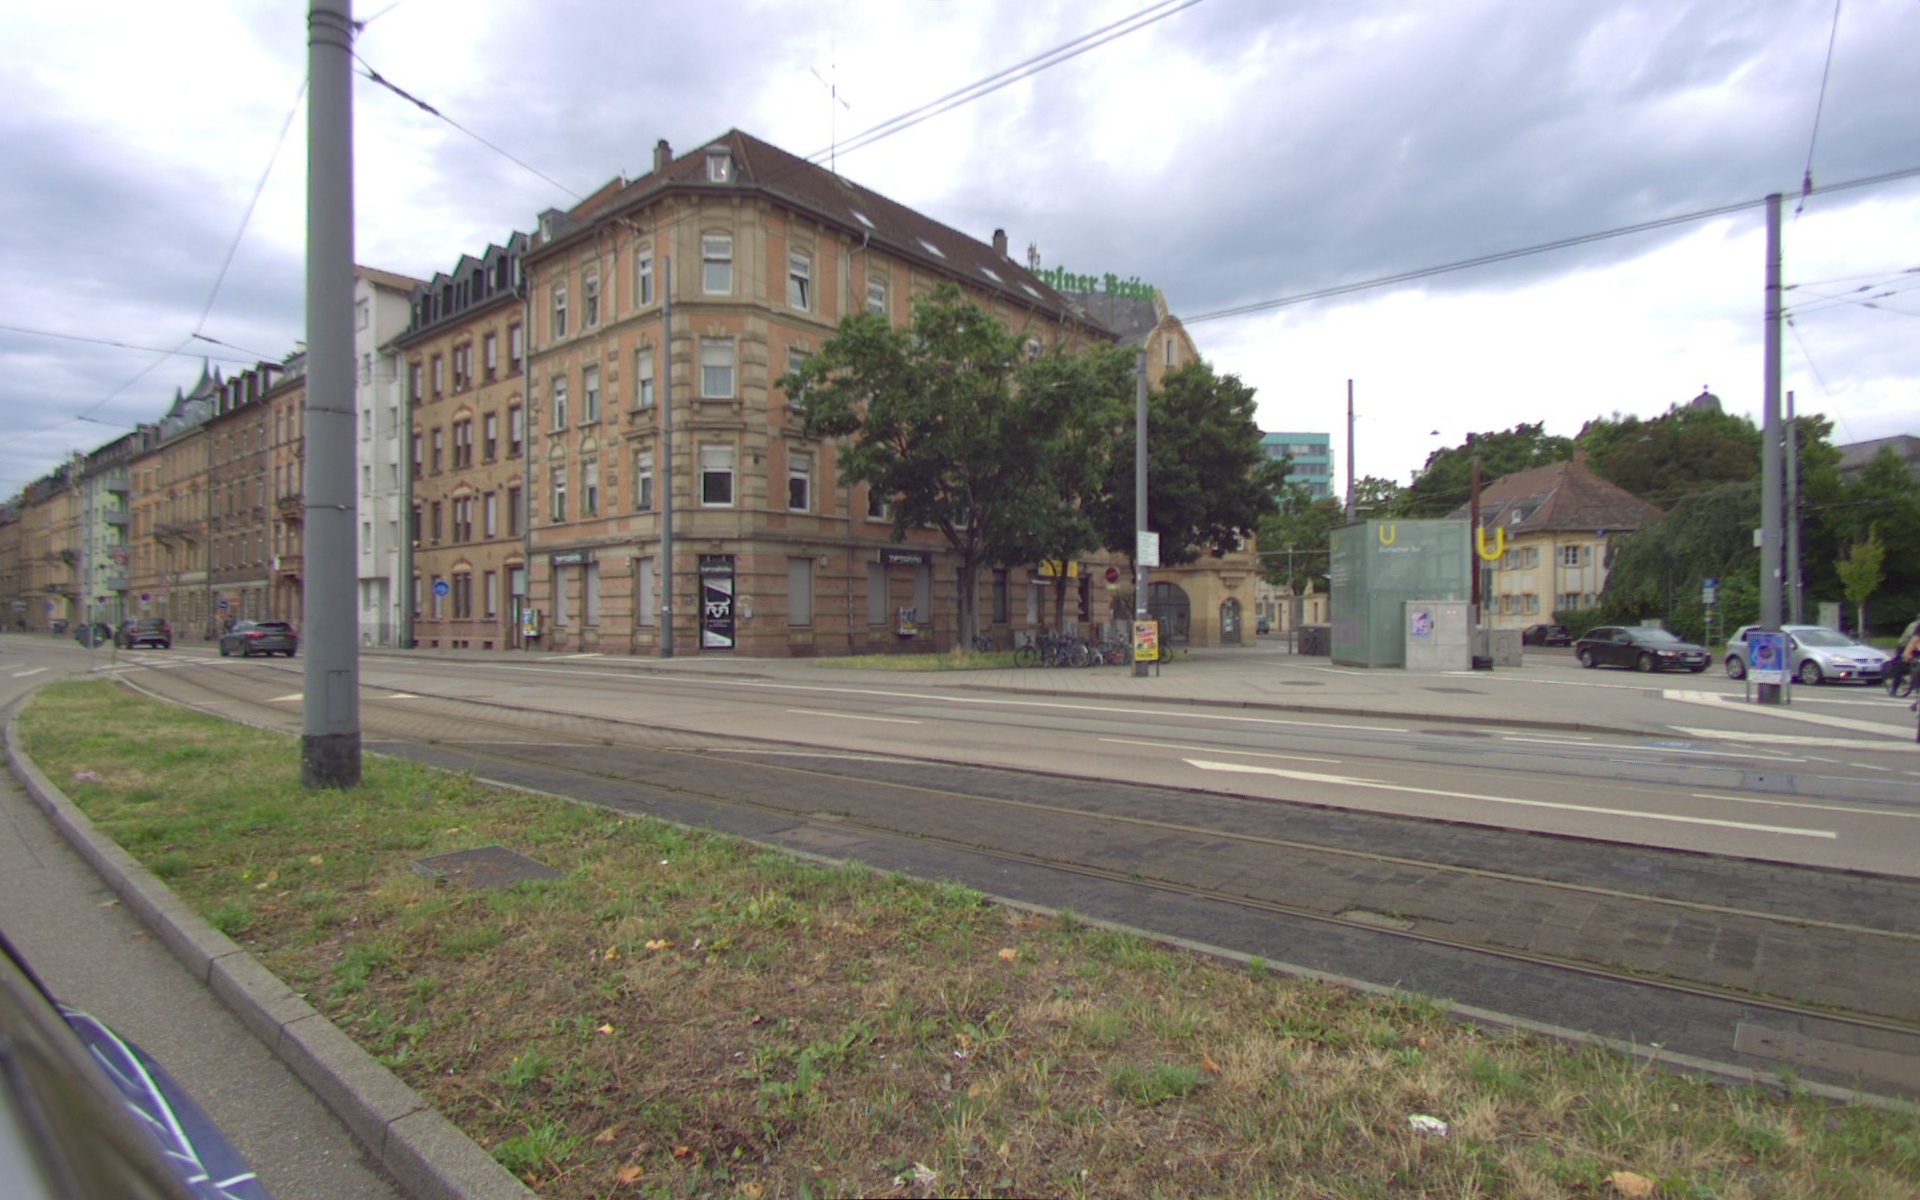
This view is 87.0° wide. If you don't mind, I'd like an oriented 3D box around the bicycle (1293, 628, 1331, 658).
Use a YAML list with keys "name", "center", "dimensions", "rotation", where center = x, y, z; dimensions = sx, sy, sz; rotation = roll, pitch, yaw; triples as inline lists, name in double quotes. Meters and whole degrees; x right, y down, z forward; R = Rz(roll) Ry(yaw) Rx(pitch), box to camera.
- name: "bicycle"
  center: [13.938, 1.703, 40.123]
  dimensions: [0.730, 1.123, 2.361]
  rotation: [-1, -1, 3]

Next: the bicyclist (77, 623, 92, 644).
- name: "bicyclist"
  center: [-64.863, 2.466, 74.975]
  dimensions: [0.941, 1.506, 0.655]
  rotation: [-1, -1, 37]

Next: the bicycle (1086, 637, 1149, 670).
- name: "bicycle"
  center: [5.040, 1.689, 32.492]
  dimensions: [0.492, 0.994, 2.224]
  rotation: [0, -1, -39]

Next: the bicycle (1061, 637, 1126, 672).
- name: "bicycle"
  center: [4.039, 1.637, 30.836]
  dimensions: [0.492, 0.994, 2.224]
  rotation: [0, -1, -39]

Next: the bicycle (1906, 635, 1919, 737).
- name: "bicycle"
  center: [12.737, 1.086, 12.988]
  dimensions: [0.816, 1.252, 1.971]
  rotation: [-3, -4, 43]

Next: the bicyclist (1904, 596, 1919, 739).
- name: "bicyclist"
  center: [12.787, 0.856, 13.047]
  dimensions: [0.816, 1.812, 1.015]
  rotation: [-3, -3, 43]

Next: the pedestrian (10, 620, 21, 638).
- name: "pedestrian"
  center: [-107.787, 3.288, 115.516]
  dimensions: [0.733, 2.029, 0.804]
  rotation: [-1, -2, 41]

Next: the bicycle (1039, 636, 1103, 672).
- name: "bicycle"
  center: [3.321, 1.603, 30.503]
  dimensions: [0.472, 1.014, 2.224]
  rotation: [0, -1, -39]

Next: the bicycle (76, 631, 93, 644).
- name: "bicycle"
  center: [-64.944, 2.800, 75.031]
  dimensions: [1.716, 0.922, 0.600]
  rotation: [-1, -1, 37]

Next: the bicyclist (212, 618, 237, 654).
- name: "bicyclist"
  center: [-39.238, 1.907, 54.003]
  dimensions: [1.048, 1.906, 0.821]
  rotation: [-2, -3, 39]

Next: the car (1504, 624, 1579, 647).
- name: "car"
  center: [35.616, 2.153, 62.086]
  dimensions: [1.904, 1.298, 4.006]
  rotation: [0, -1, -7]

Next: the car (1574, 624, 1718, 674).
- name: "car"
  center: [21.803, 1.521, 32.377]
  dimensions: [1.673, 1.460, 4.144]
  rotation: [-1, -1, -1]

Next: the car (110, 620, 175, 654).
- name: "car"
  center: [-42.440, 1.891, 52.518]
  dimensions: [4.225, 1.652, 1.780]
  rotation: [-1, -1, 39]

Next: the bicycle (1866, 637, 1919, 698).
- name: "bicycle"
  center: [19.966, 1.382, 20.710]
  dimensions: [0.845, 1.217, 2.197]
  rotation: [0, -1, 1]

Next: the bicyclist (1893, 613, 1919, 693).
- name: "bicyclist"
  center: [19.970, 1.084, 20.711]
  dimensions: [0.843, 1.635, 0.917]
  rotation: [0, -2, 1]

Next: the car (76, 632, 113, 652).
- name: "car"
  center: [-68.865, 3.343, 80.496]
  dimensions: [3.828, 1.491, 1.828]
  rotation: [-1, -2, 43]

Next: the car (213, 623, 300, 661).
- name: "car"
  center: [-27.948, 1.638, 40.169]
  dimensions: [4.387, 1.406, 1.676]
  rotation: [-1, -2, 39]

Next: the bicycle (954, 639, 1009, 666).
- name: "bicycle"
  center: [0.815, 1.970, 37.996]
  dimensions: [1.982, 0.921, 0.655]
  rotation: [-4, -5, 31]

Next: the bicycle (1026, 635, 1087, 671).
- name: "bicycle"
  center: [2.869, 1.561, 30.177]
  dimensions: [0.513, 0.994, 2.041]
  rotation: [0, -1, -39]

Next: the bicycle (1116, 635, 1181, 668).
- name: "bicycle"
  center: [6.364, 1.729, 34.279]
  dimensions: [0.678, 1.047, 2.224]
  rotation: [0, -1, -39]

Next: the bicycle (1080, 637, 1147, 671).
- name: "bicycle"
  center: [4.806, 1.690, 31.833]
  dimensions: [0.601, 0.994, 2.224]
  rotation: [0, -1, -39]

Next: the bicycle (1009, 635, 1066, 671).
- name: "bicycle"
  center: [2.254, 1.544, 29.750]
  dimensions: [0.492, 0.994, 1.872]
  rotation: [1, -2, -41]

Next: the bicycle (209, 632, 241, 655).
- name: "bicycle"
  center: [-39.170, 2.328, 53.930]
  dimensions: [2.232, 1.217, 0.816]
  rotation: [-2, -3, 40]

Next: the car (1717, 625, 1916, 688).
- name: "car"
  center: [21.904, 1.385, 26.131]
  dimensions: [1.739, 1.465, 4.156]
  rotation: [-1, -1, 4]

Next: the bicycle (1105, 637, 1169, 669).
- name: "bicycle"
  center: [5.764, 1.729, 33.154]
  dimensions: [0.576, 0.994, 2.224]
  rotation: [0, -1, -39]
